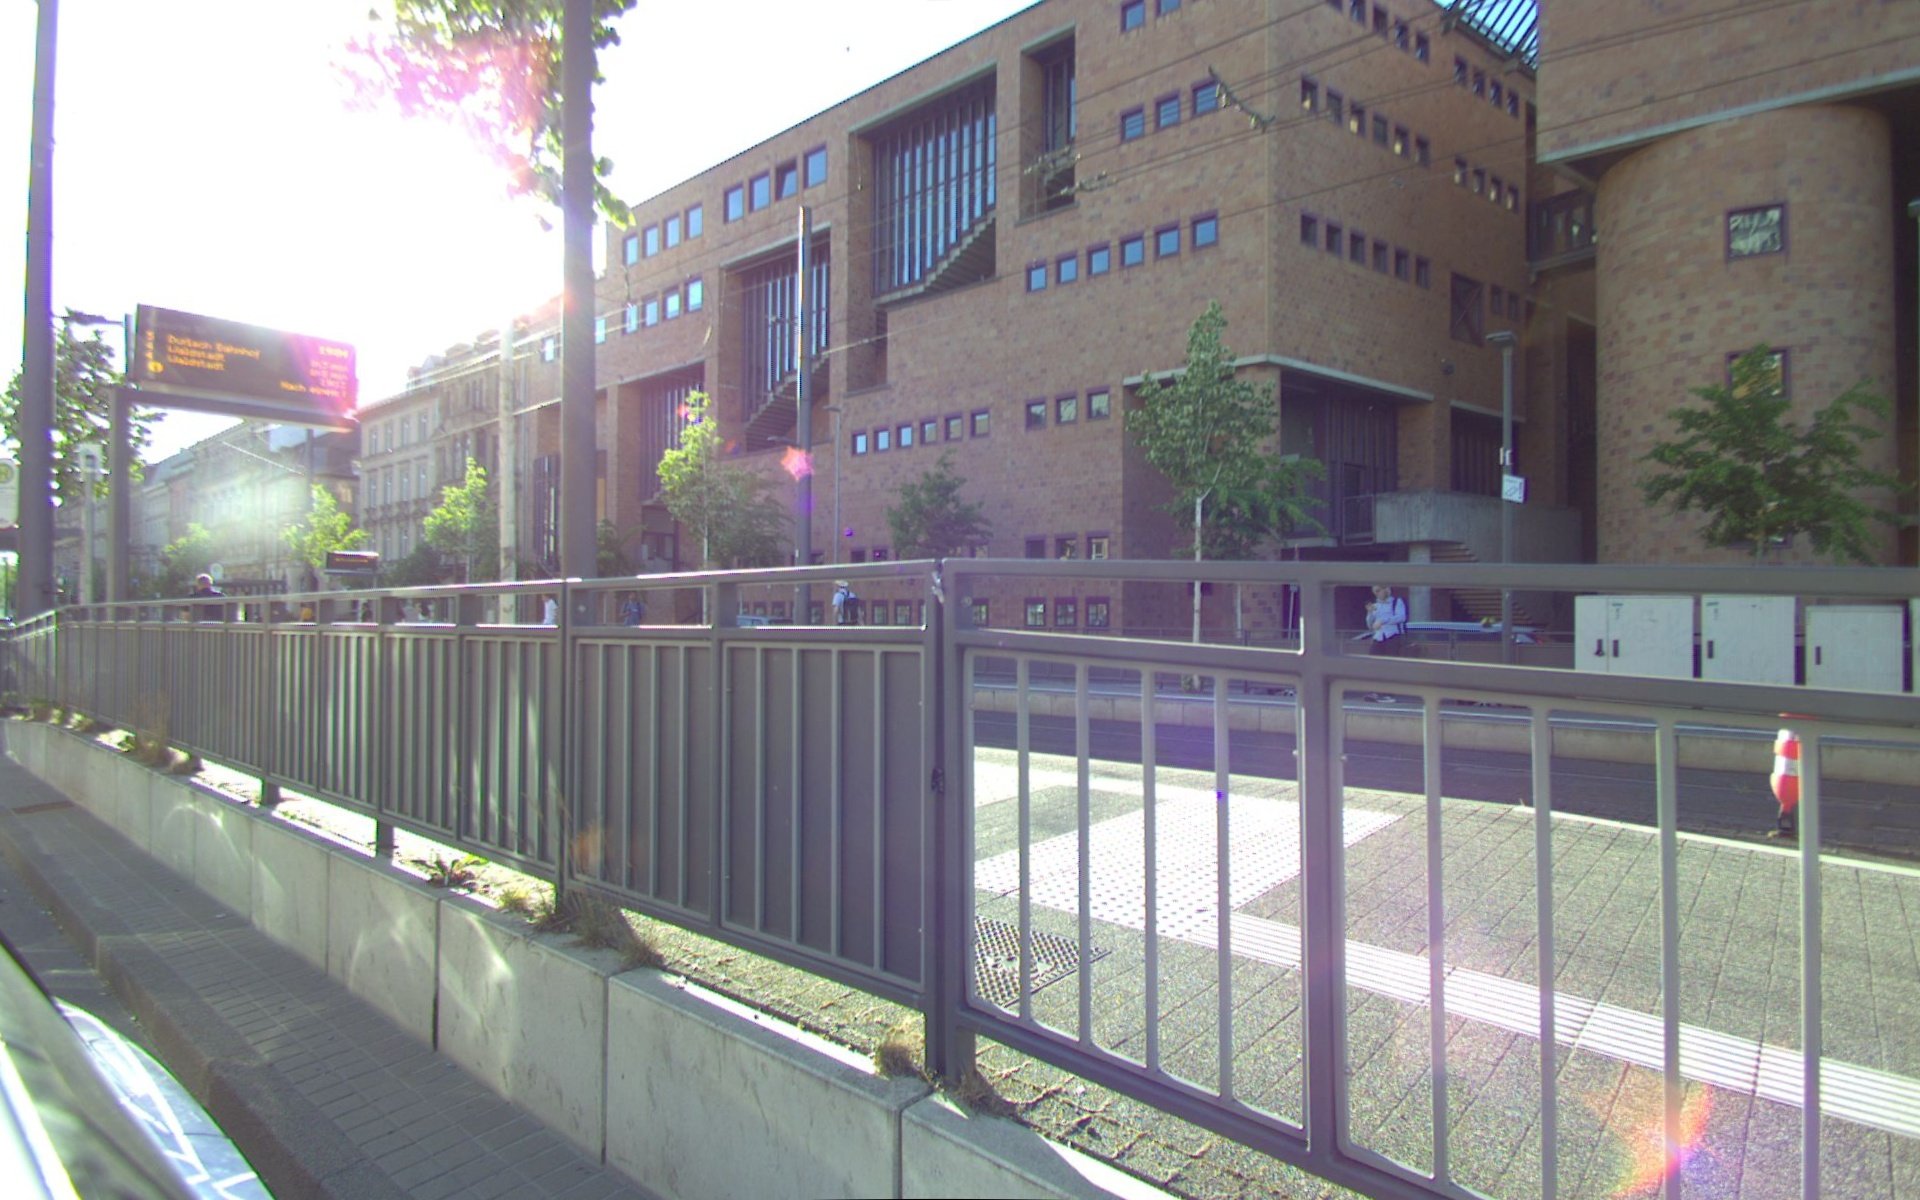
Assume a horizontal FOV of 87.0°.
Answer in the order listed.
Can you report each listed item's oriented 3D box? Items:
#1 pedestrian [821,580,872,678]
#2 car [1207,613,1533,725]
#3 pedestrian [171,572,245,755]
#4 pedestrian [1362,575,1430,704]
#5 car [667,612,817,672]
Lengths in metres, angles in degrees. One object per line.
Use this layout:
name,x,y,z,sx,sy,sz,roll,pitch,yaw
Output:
pedestrian,-2.150,0.537,19.223,0.668,1.821,0.677,0,0,40
car,6.641,1.031,16.681,4.687,1.580,1.808,0,-2,38
pedestrian,-10.461,0.851,14.077,0.625,2.461,0.676,0,0,38
pedestrian,5.781,0.506,13.421,0.684,1.647,0.660,0,0,37
car,-6.202,1.141,28.601,4.234,1.580,1.808,0,-2,37
